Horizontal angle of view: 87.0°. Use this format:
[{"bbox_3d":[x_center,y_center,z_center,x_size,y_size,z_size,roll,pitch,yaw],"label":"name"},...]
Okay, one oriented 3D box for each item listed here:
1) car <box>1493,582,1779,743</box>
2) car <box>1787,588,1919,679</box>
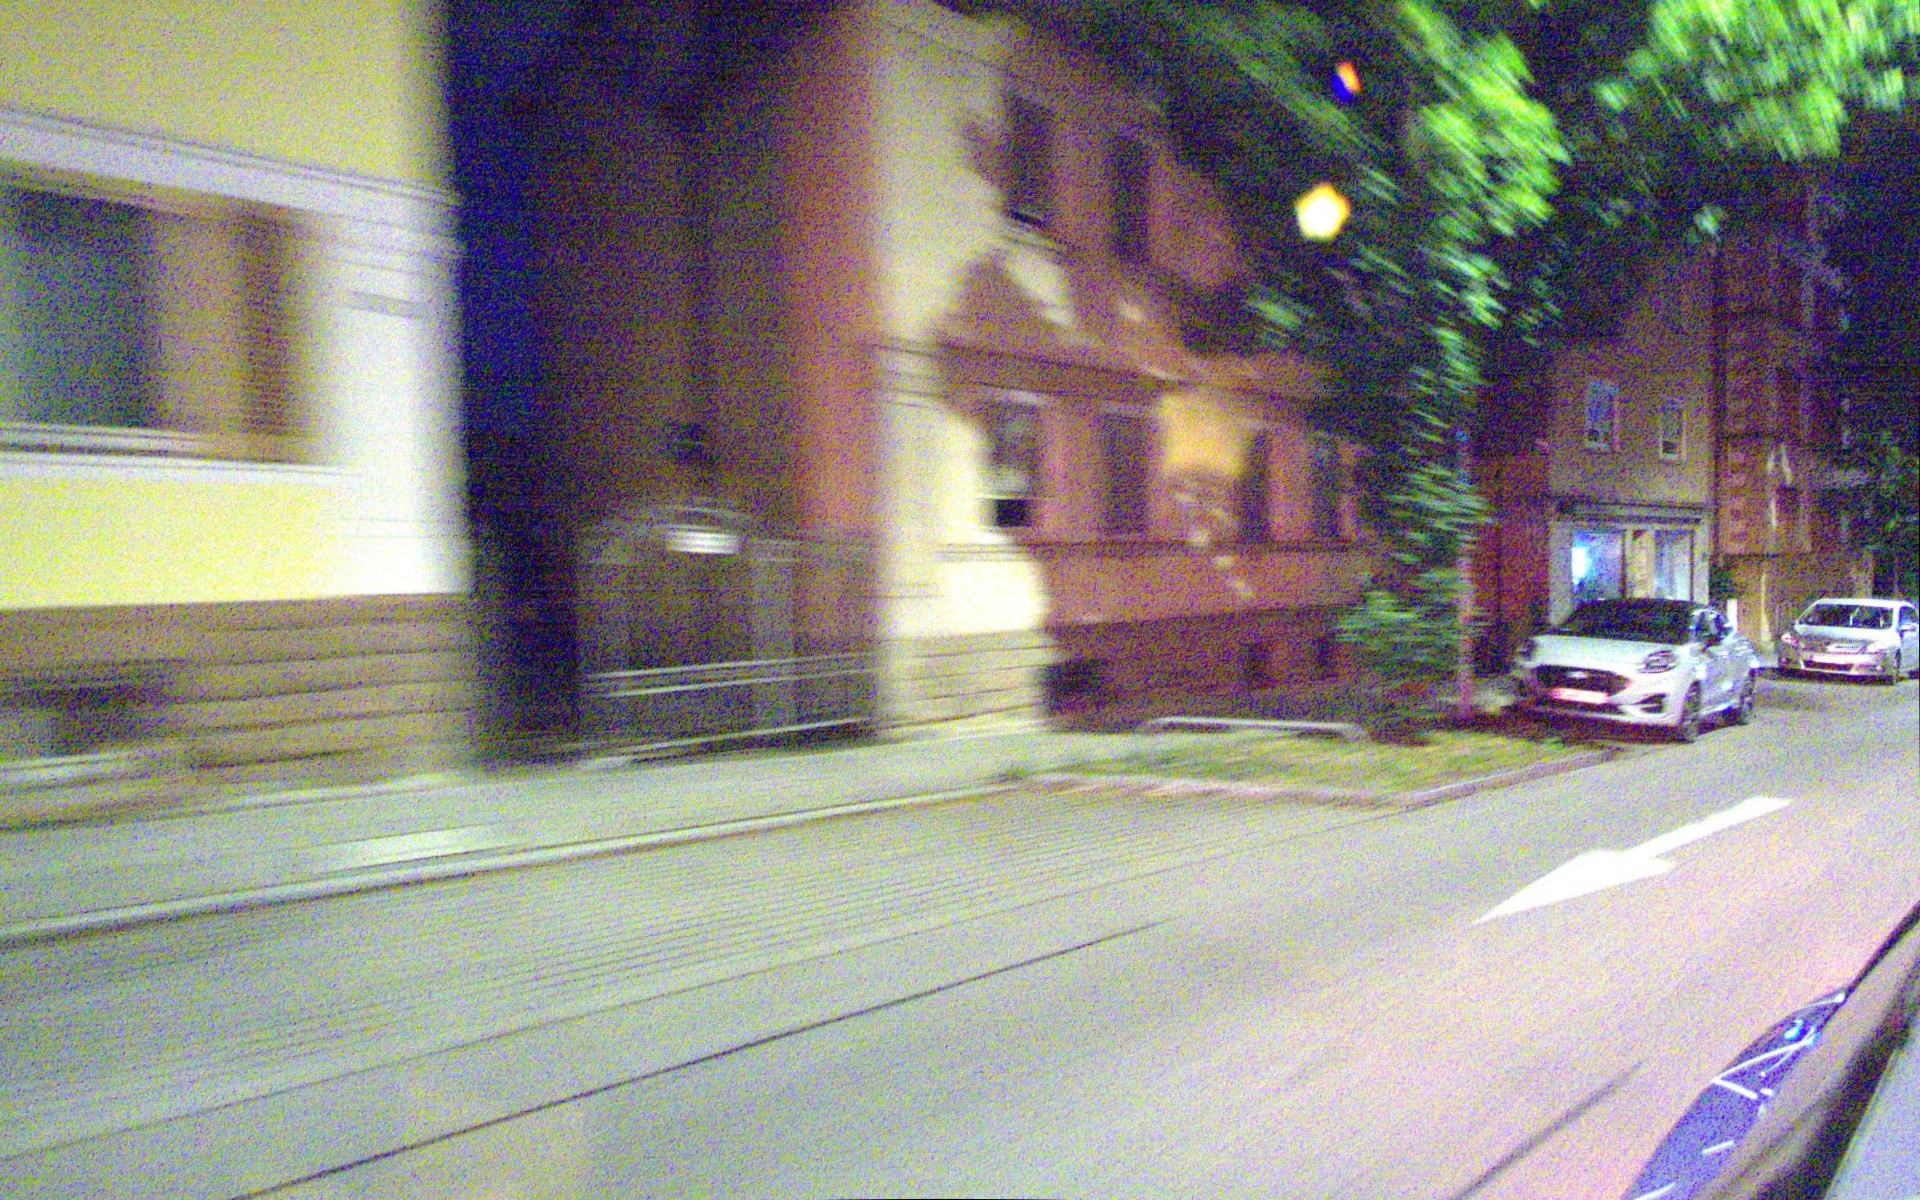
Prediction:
[{"bbox_3d":[8.286,0.629,12.290,3.974,1.572,1.864,0,2,-41],"label":"car"},{"bbox_3d":[18.545,0.616,20.587,4.279,1.617,1.743,0,2,-38],"label":"car"}]
